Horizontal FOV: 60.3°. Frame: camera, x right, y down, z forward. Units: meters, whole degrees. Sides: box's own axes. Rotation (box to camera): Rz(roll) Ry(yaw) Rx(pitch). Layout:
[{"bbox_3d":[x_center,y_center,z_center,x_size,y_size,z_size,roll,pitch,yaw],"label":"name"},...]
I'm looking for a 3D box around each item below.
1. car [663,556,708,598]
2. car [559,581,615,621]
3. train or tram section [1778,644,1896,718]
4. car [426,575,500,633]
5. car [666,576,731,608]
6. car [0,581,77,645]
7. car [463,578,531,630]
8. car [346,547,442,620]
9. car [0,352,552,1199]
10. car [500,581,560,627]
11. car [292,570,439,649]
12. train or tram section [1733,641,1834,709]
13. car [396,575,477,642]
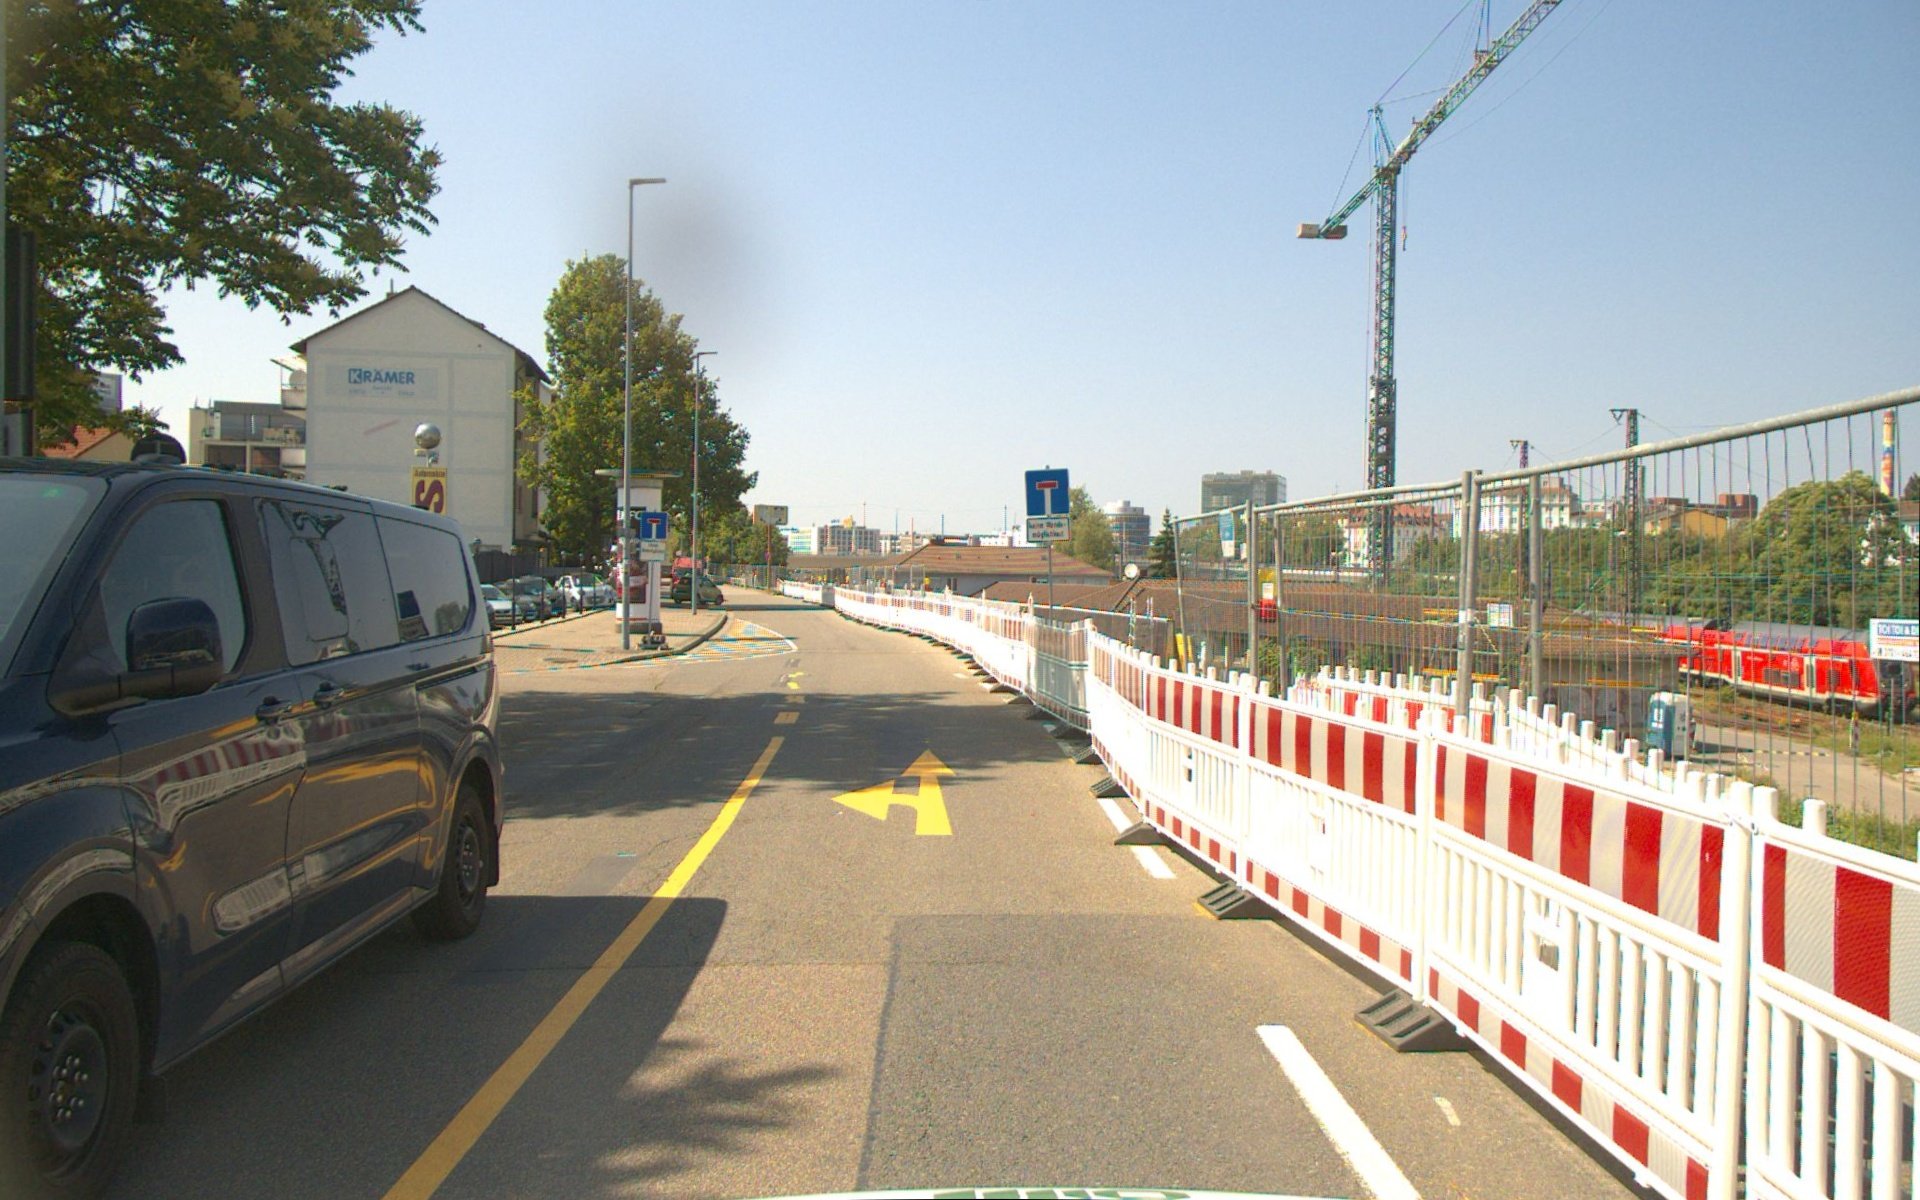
[{"bbox_3d":[-17.591,-1.434,106.302,2.489,2.564,5.112,1,0,-6],"label":"car"},{"bbox_3d":[-16.113,0.008,71.381,1.829,1.657,3.976,1,0,-20],"label":"car"},{"bbox_3d":[50.101,4.536,94.791,2.950,3.766,8.979,3,0,8],"label":"train or tram section"},{"bbox_3d":[-14.790,0.098,49.107,1.829,1.657,3.976,1,0,-20],"label":"car"},{"bbox_3d":[-14.609,-0.435,92.600,1.696,1.666,3.260,1,-1,43],"label":"car"},{"bbox_3d":[-25.224,0.310,42.306,4.301,1.613,1.968,2,-1,-44],"label":"car"},{"bbox_3d":[-15.342,0.115,54.676,1.829,1.657,3.976,1,0,-20],"label":"car"},{"bbox_3d":[-18.921,-0.540,55.494,2.095,2.324,4.703,1,0,-7],"label":"car"},{"bbox_3d":[-3.123,0.507,5.652,2.132,2.002,5.443,-2,0,-1],"label":"car"},{"bbox_3d":[-16.516,0.135,63.419,1.829,1.657,3.976,1,0,-20],"label":"car"},{"bbox_3d":[-13.929,0.210,38.640,1.981,1.756,3.942,2,0,-40],"label":"car"},{"bbox_3d":[51.464,4.614,103.645,2.950,3.778,8.979,3,0,9],"label":"train or tram section"},{"bbox_3d":[-13.851,0.193,43.649,1.829,1.657,3.976,1,0,-20],"label":"car"}]
